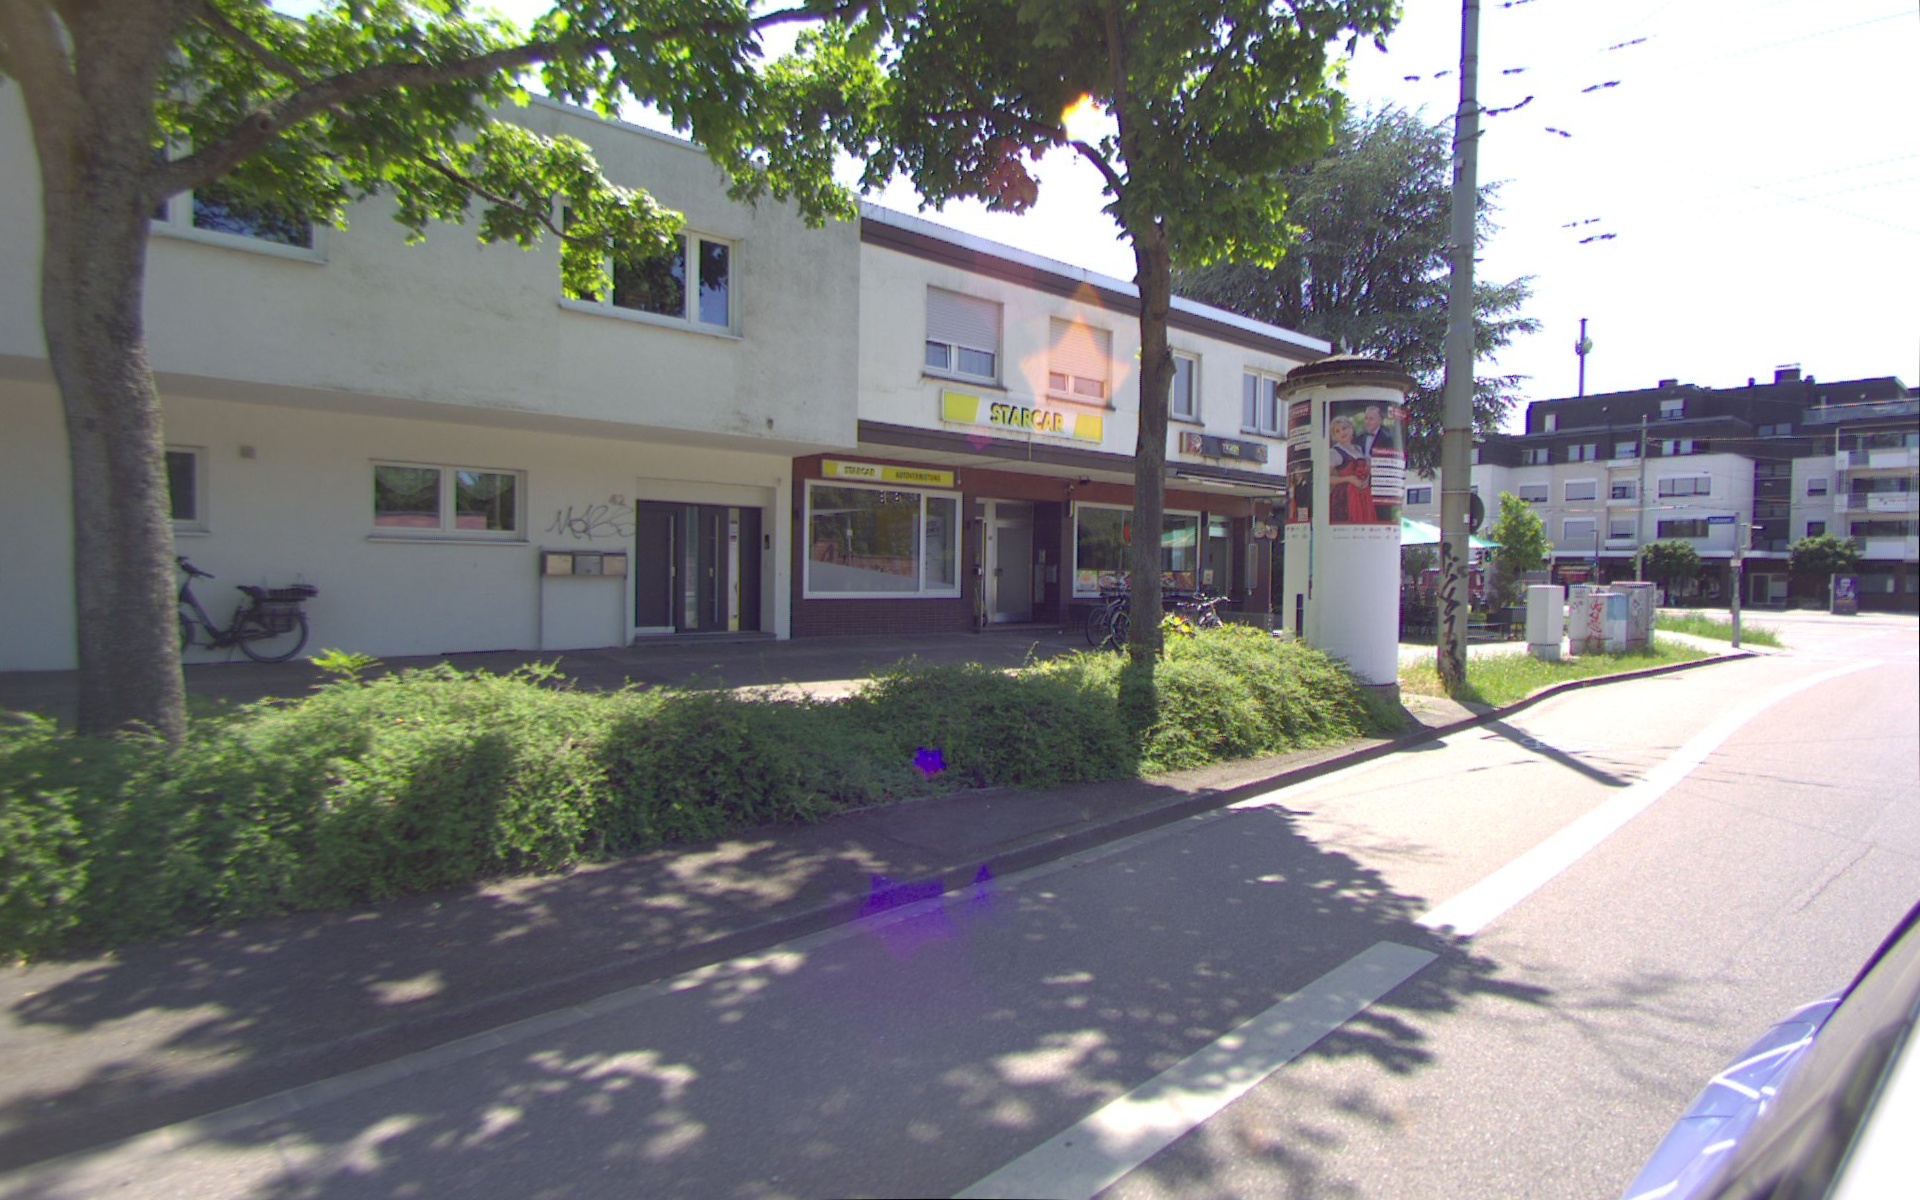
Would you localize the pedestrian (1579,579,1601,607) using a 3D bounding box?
[{"bbox_3d":[37.740,-0.418,60.630,0.925,1.645,0.808,0,1,-34],"label":"pedestrian"}]

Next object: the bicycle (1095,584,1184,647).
[{"bbox_3d":[3.291,0.254,18.409,1.989,1.081,0.542,-1,2,-45],"label":"bicycle"}]

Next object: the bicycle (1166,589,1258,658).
[{"bbox_3d":[4.266,0.368,17.051,1.989,1.081,0.542,-1,2,-45],"label":"bicycle"}]

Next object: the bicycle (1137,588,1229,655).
[{"bbox_3d":[3.879,0.342,17.491,1.989,1.081,0.542,-1,2,-45],"label":"bicycle"}]

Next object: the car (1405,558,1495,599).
[{"bbox_3d":[33.835,-1.521,70.016,1.966,2.761,5.200,0,2,-41],"label":"car"}]

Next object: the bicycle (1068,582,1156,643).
[{"bbox_3d":[2.850,0.206,18.821,1.989,1.081,0.542,-1,2,-45],"label":"bicycle"}]

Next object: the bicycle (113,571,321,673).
[{"bbox_3d":[-8.495,0.221,11.630,1.870,1.081,0.542,-1,2,-45],"label":"bicycle"}]
